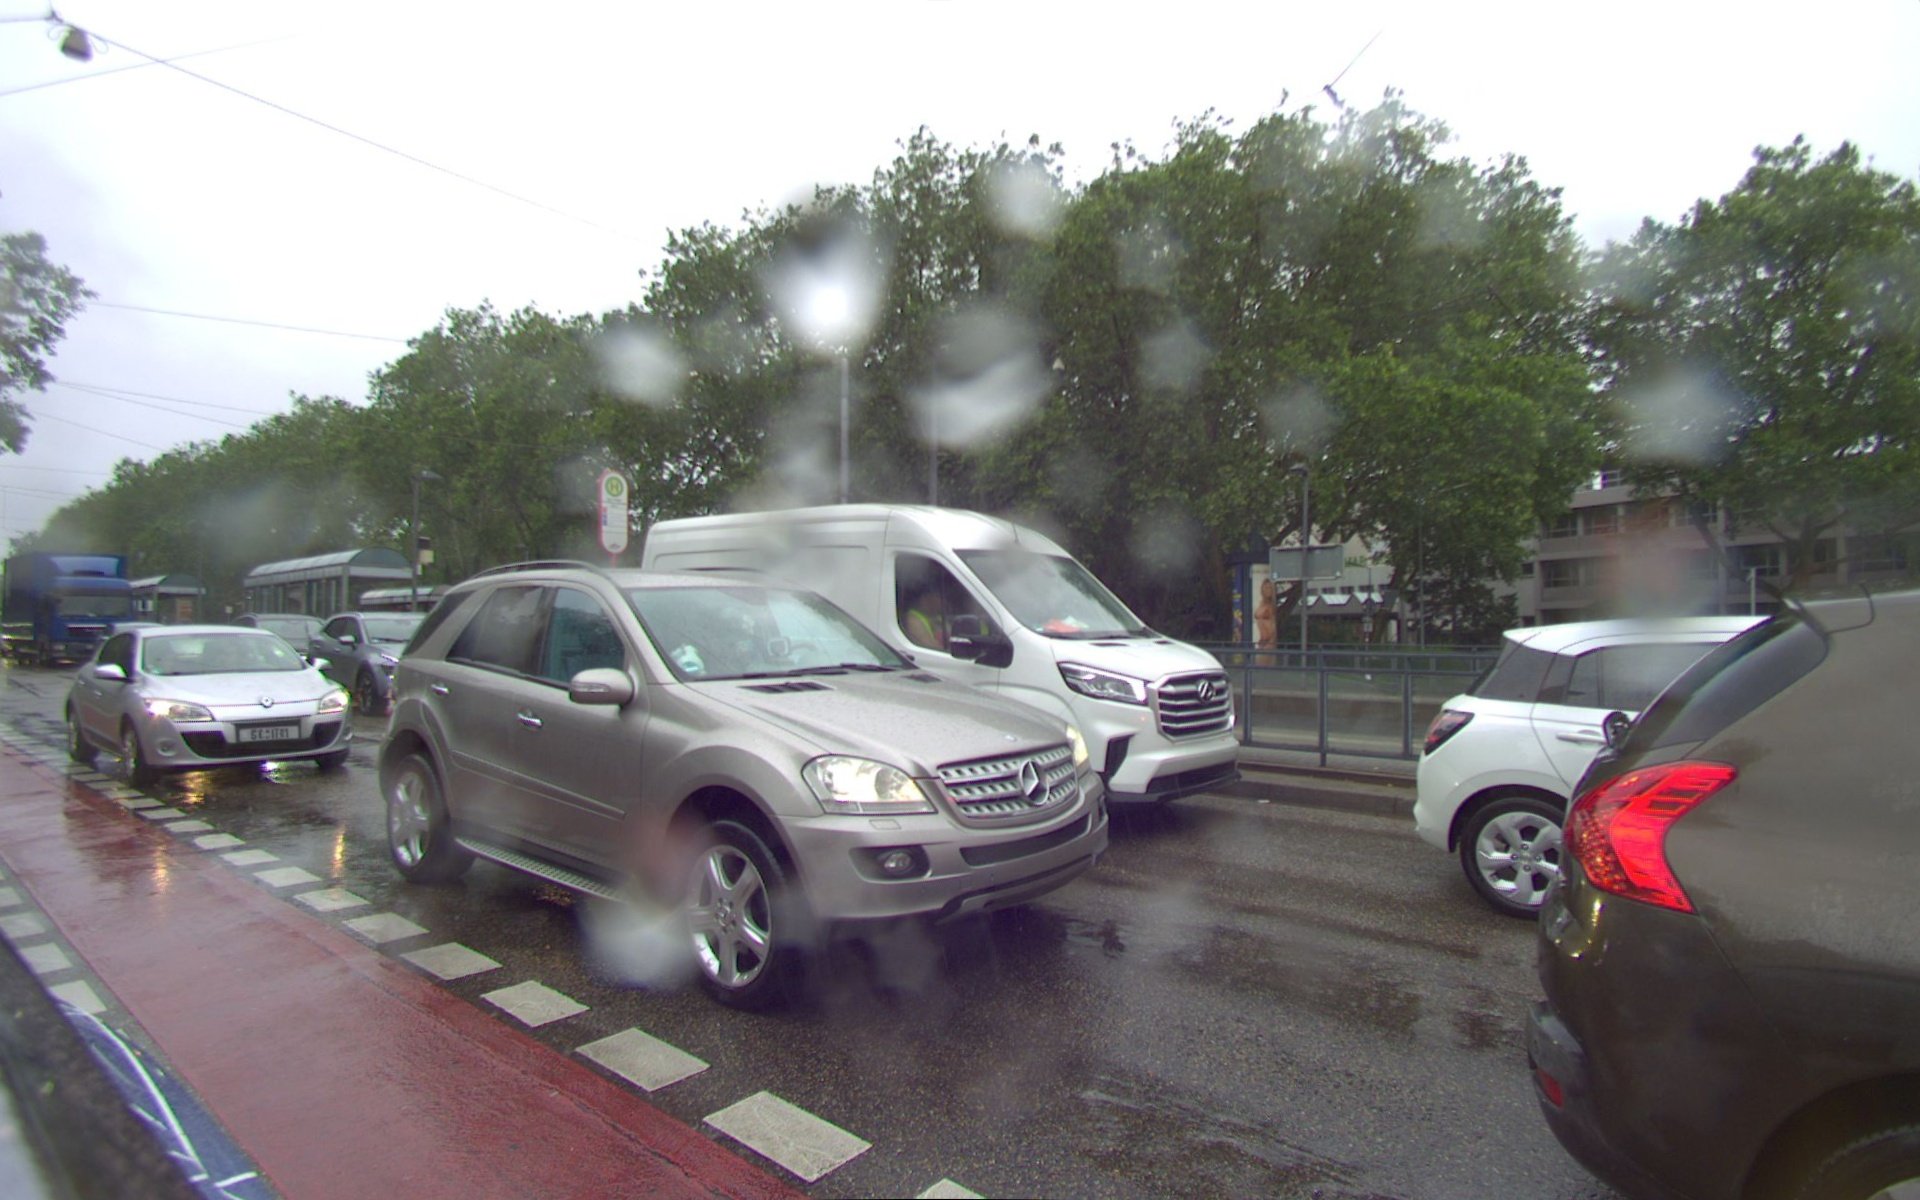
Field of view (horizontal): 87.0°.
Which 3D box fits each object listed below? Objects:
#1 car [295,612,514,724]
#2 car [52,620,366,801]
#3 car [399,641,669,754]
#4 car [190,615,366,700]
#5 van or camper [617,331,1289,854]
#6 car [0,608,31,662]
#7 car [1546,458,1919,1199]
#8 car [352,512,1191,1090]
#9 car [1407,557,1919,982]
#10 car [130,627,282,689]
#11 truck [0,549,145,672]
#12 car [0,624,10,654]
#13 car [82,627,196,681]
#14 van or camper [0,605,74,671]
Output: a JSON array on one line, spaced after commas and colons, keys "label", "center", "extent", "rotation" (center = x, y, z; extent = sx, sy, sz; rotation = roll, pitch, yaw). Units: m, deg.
[{"label": "car", "center": [-9.460, 1.059, 17.076], "extent": [4.454, 1.636, 1.894], "rotation": [-1, -2, 43]}, {"label": "car", "center": [-7.837, 0.962, 10.433], "extent": [3.998, 1.489, 1.750], "rotation": [-1, -1, 40]}, {"label": "car", "center": [-5.452, 1.116, 12.710], "extent": [4.084, 1.126, 1.448], "rotation": [-1, -1, 40]}, {"label": "car", "center": [-14.651, 1.167, 21.678], "extent": [4.316, 1.633, 1.974], "rotation": [-1, -2, 40]}, {"label": "van or camper", "center": [-0.395, 0.016, 8.818], "extent": [5.846, 3.166, 2.136], "rotation": [-1, -2, 40]}, {"label": "car", "center": [-46.412, 1.674, 48.764], "extent": [5.727, 2.445, 1.972], "rotation": [-1, 0, 43]}, {"label": "car", "center": [3.283, 0.595, 1.236], "extent": [4.170, 1.681, 1.815], "rotation": [-1, -1, 41]}, {"label": "car", "center": [-1.278, 0.653, 5.346], "extent": [4.459, 1.783, 2.004], "rotation": [-1, -1, 40]}, {"label": "car", "center": [4.259, 0.670, 4.525], "extent": [3.834, 1.641, 1.628], "rotation": [-1, -2, 41]}, {"label": "car", "center": [-18.832, 1.385, 25.203], "extent": [4.602, 1.405, 1.973], "rotation": [-1, -3, 40]}, {"label": "truck", "center": [-32.219, 0.453, 36.355], "extent": [9.803, 3.919, 2.513], "rotation": [-1, -3, 40]}, {"label": "car", "center": [-52.356, 2.096, 54.067], "extent": [3.998, 1.589, 1.973], "rotation": [-1, -1, 41]}, {"label": "car", "center": [-24.449, 1.546, 30.094], "extent": [4.074, 1.498, 1.871], "rotation": [-1, -2, 40]}, {"label": "van or camper", "center": [-40.044, 1.582, 43.546], "extent": [6.427, 2.590, 1.973], "rotation": [-1, 0, 41]}]
